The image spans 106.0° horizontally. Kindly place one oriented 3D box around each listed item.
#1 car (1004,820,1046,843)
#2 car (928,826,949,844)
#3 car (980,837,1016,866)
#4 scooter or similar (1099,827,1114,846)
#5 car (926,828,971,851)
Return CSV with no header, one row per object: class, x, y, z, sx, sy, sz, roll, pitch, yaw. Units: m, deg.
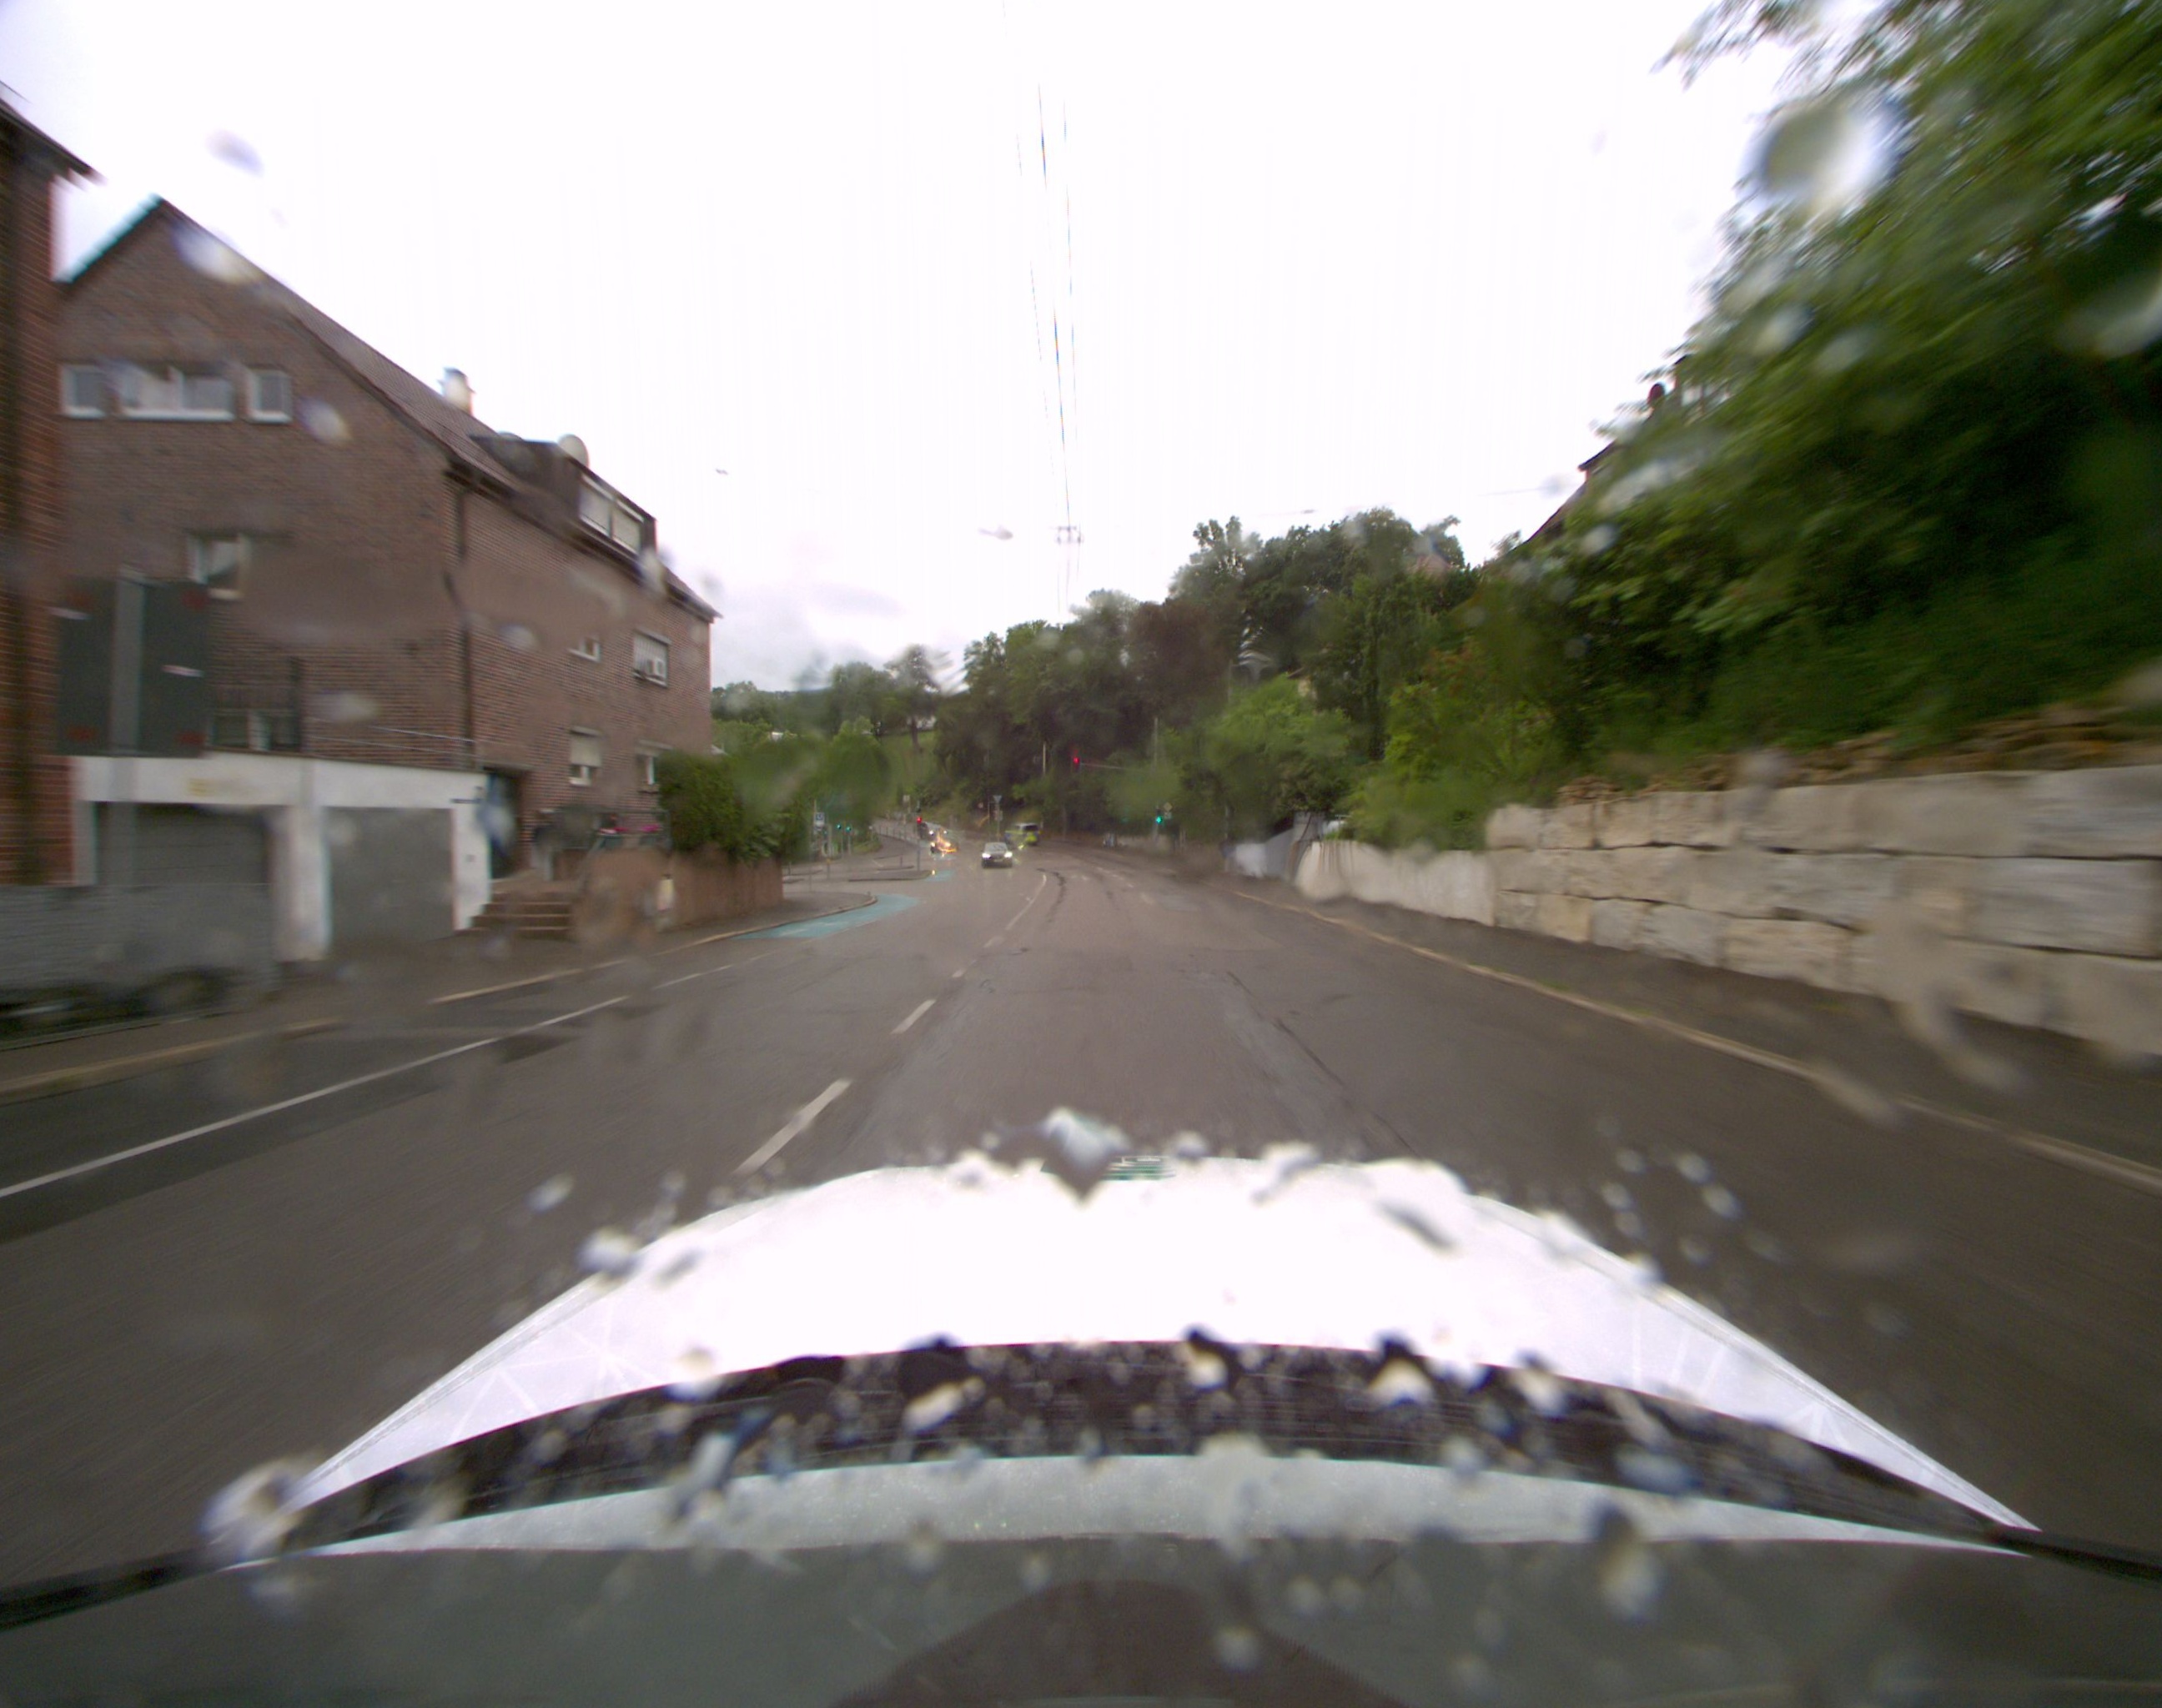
car,-5.099,-2.040,73.584,2.320,1.939,4.291,-4,3,-24
car,-14.119,-1.902,80.632,1.743,1.549,3.984,-3,3,-13
car,-5.070,-0.194,49.383,1.742,1.550,3.986,-3,2,-11
scooter or similar,2.046,-1.453,66.430,0.617,1.421,2.150,-3,5,-14
car,-10.899,-1.226,67.273,1.725,1.549,4.024,-2,4,23
